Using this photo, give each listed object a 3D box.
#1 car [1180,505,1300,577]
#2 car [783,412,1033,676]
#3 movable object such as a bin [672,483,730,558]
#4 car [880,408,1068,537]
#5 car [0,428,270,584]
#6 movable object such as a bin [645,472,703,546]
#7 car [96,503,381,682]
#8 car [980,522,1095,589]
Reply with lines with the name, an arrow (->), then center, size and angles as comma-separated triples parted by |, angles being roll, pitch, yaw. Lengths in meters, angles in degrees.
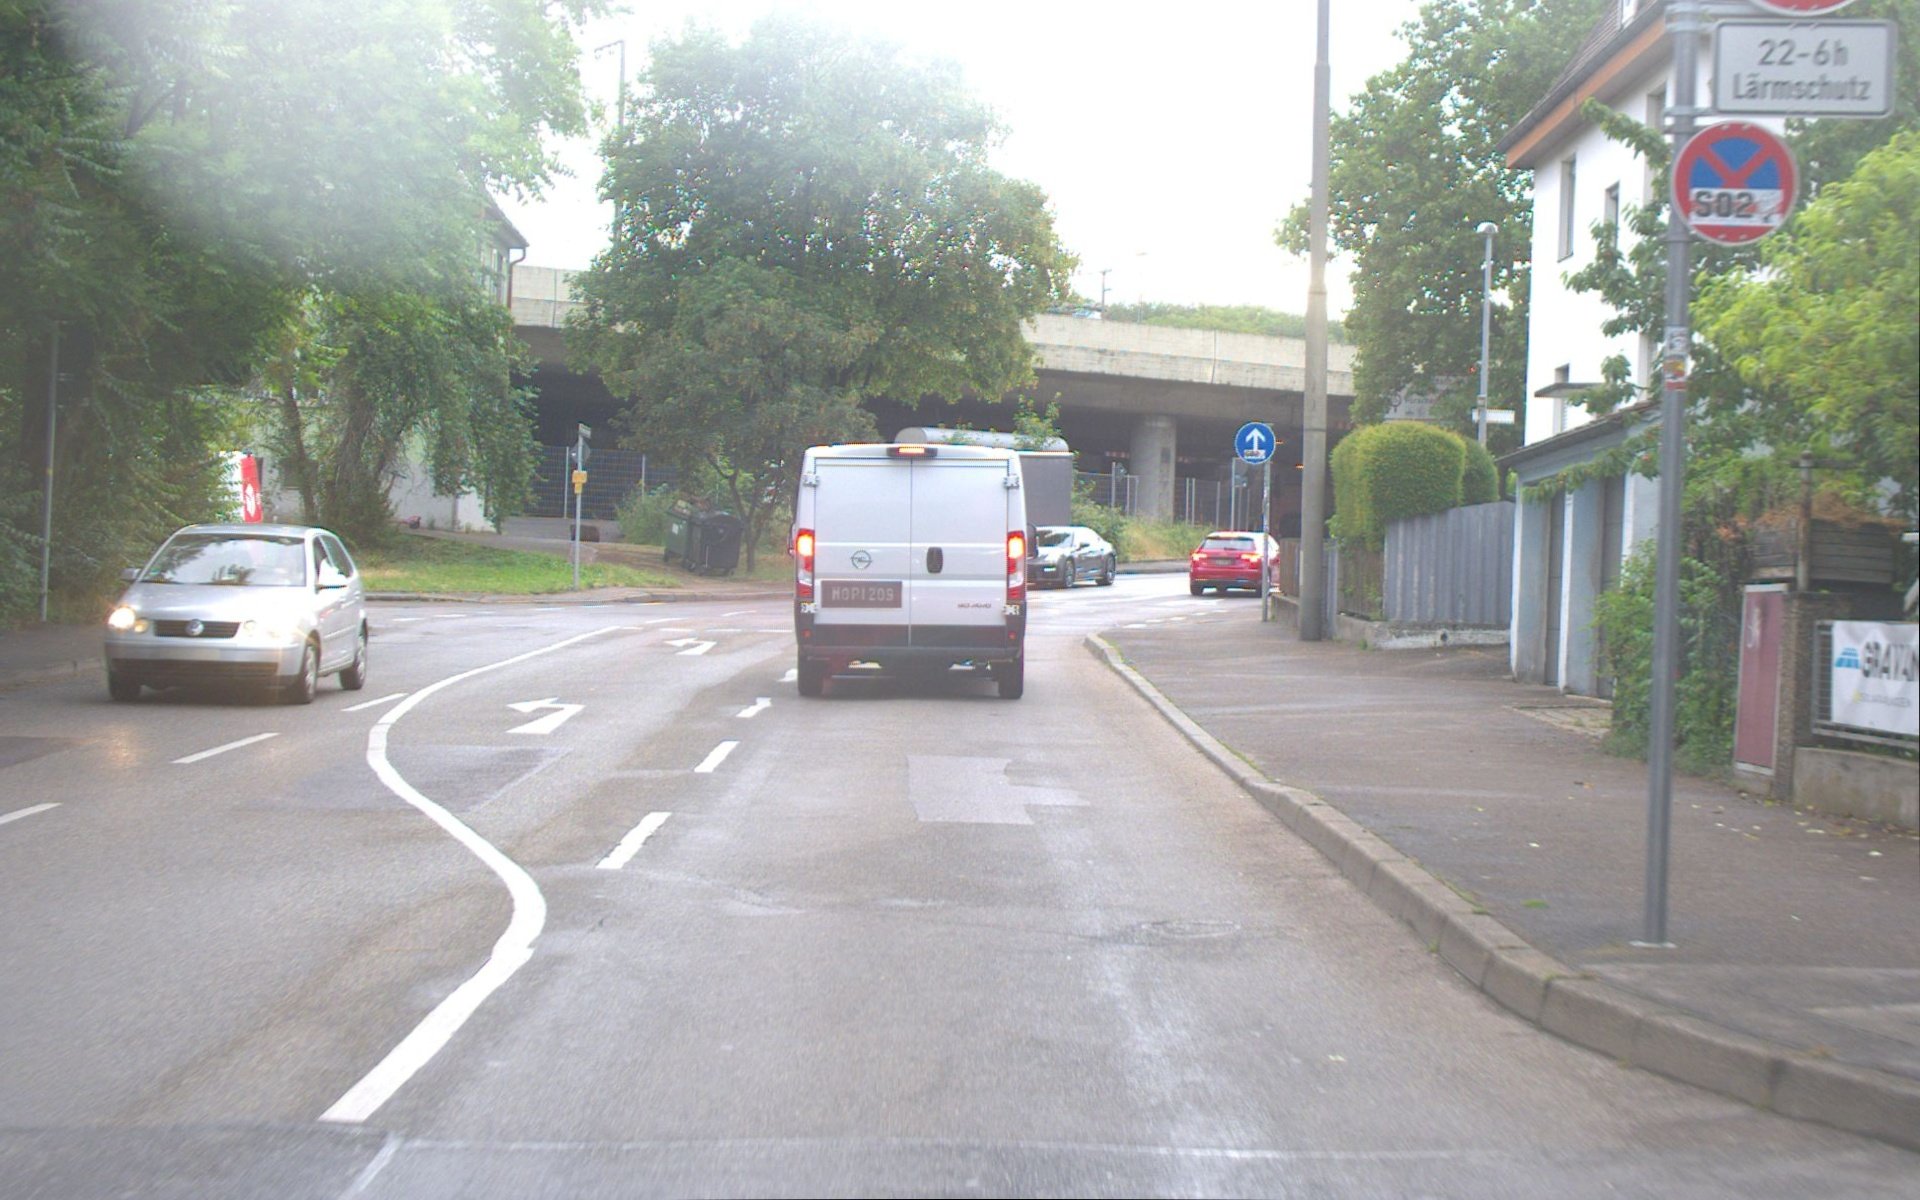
car -> 6.344, -1.312, 77.533 | 1.767, 1.505, 3.751 | 3, 2, 19
car -> -0.486, -0.550, 32.145 | 2.146, 2.275, 5.063 | 0, 1, -1
movable object such as a bin -> -5.787, -1.779, 76.942 | 0.940, 1.558, 1.130 | 8, 2, 4
car -> 0.449, -3.231, 88.698 | 2.536, 3.007, 7.204 | 3, 1, 19
car -> -15.218, -1.703, 62.035 | 5.046, 2.619, 2.154 | 2, 1, -1
movable object such as a bin -> -6.515, -2.069, 78.384 | 0.940, 1.558, 1.130 | 8, 2, 4
car -> -6.045, -0.114, 29.196 | 1.654, 1.412, 3.936 | 0, 2, -1
car -> 1.878, -1.034, 81.687 | 1.994, 1.451, 4.827 | 2, 0, 10
